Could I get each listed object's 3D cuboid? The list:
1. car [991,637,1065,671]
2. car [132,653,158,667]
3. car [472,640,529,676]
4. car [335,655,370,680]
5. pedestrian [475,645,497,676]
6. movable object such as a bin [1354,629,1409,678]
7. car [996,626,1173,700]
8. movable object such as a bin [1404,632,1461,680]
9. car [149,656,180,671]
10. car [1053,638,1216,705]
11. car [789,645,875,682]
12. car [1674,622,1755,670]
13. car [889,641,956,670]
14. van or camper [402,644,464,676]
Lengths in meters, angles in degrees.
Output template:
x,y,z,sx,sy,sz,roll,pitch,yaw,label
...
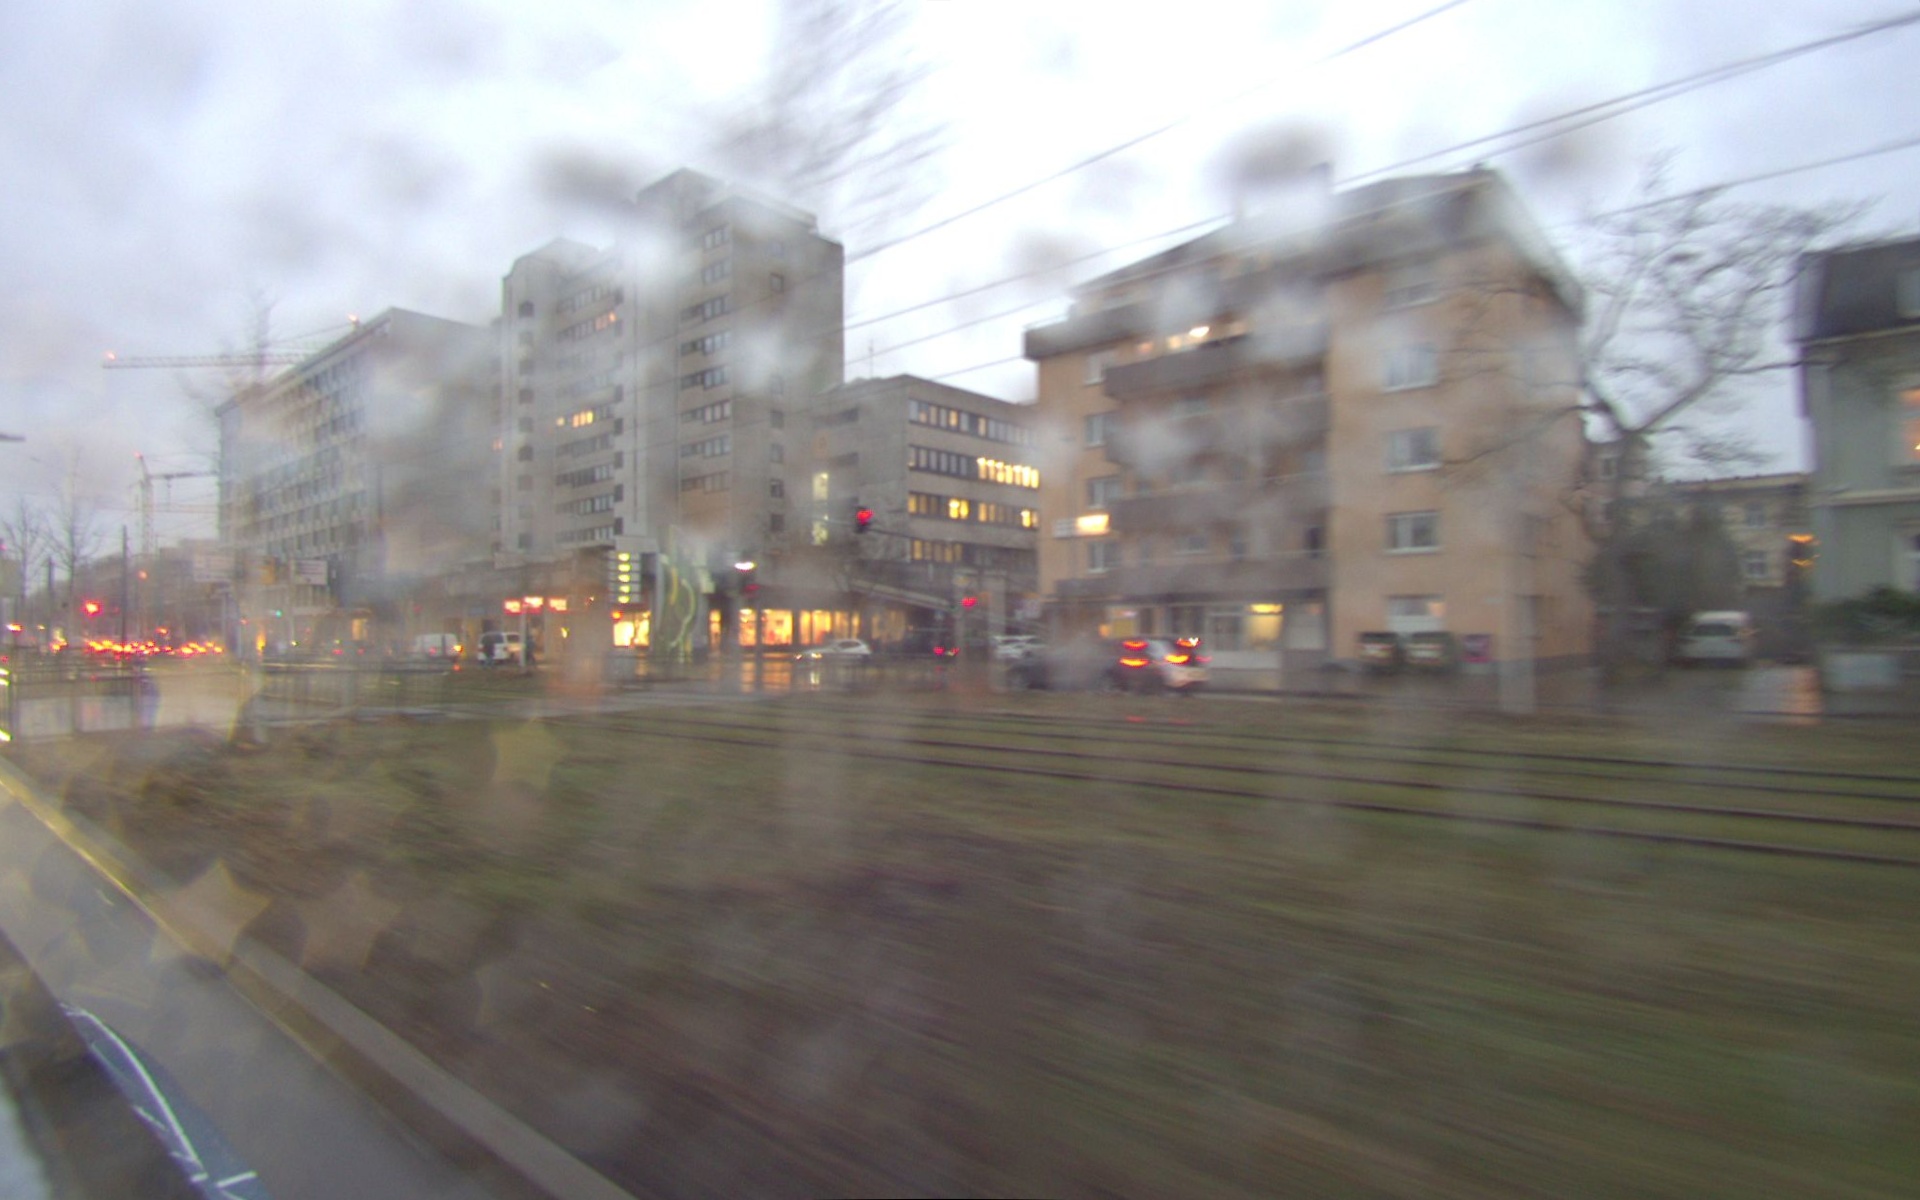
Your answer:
x,y,z,sx,sy,sz,roll,pitch,yaw,label
3.441,2.662,50.602,1.777,1.564,3.787,-2,-2,40,car
-90.564,6.683,112.440,3.871,1.460,1.575,-2,-2,41,car
-29.736,3.735,65.654,1.969,2.029,4.579,-2,0,-6,car
-41.695,4.582,69.392,1.966,1.557,4.717,0,-2,-32,car
-23.495,3.014,50.204,0.629,1.501,0.783,-2,-3,34,pedestrian
14.017,1.768,33.672,1.423,1.573,1.097,-3,-4,39,movable object such as a bin
3.008,1.489,24.911,3.998,1.597,1.782,-2,0,41,car
15.245,1.791,32.645,1.423,1.492,1.097,-3,-4,39,movable object such as a bin
-81.000,6.452,103.004,3.871,1.460,1.732,-2,-2,41,car
4.661,1.858,27.367,3.998,1.597,1.782,-2,0,41,car
-6.111,3.005,48.612,1.684,1.523,3.946,-2,0,40,car
24.146,1.428,32.352,1.832,1.417,3.946,-2,-2,40,car
-2.187,3.217,59.095,3.626,1.613,1.605,-2,-2,31,car
-36.917,4.151,70.816,5.652,2.113,1.972,-3,-3,42,van or camper
